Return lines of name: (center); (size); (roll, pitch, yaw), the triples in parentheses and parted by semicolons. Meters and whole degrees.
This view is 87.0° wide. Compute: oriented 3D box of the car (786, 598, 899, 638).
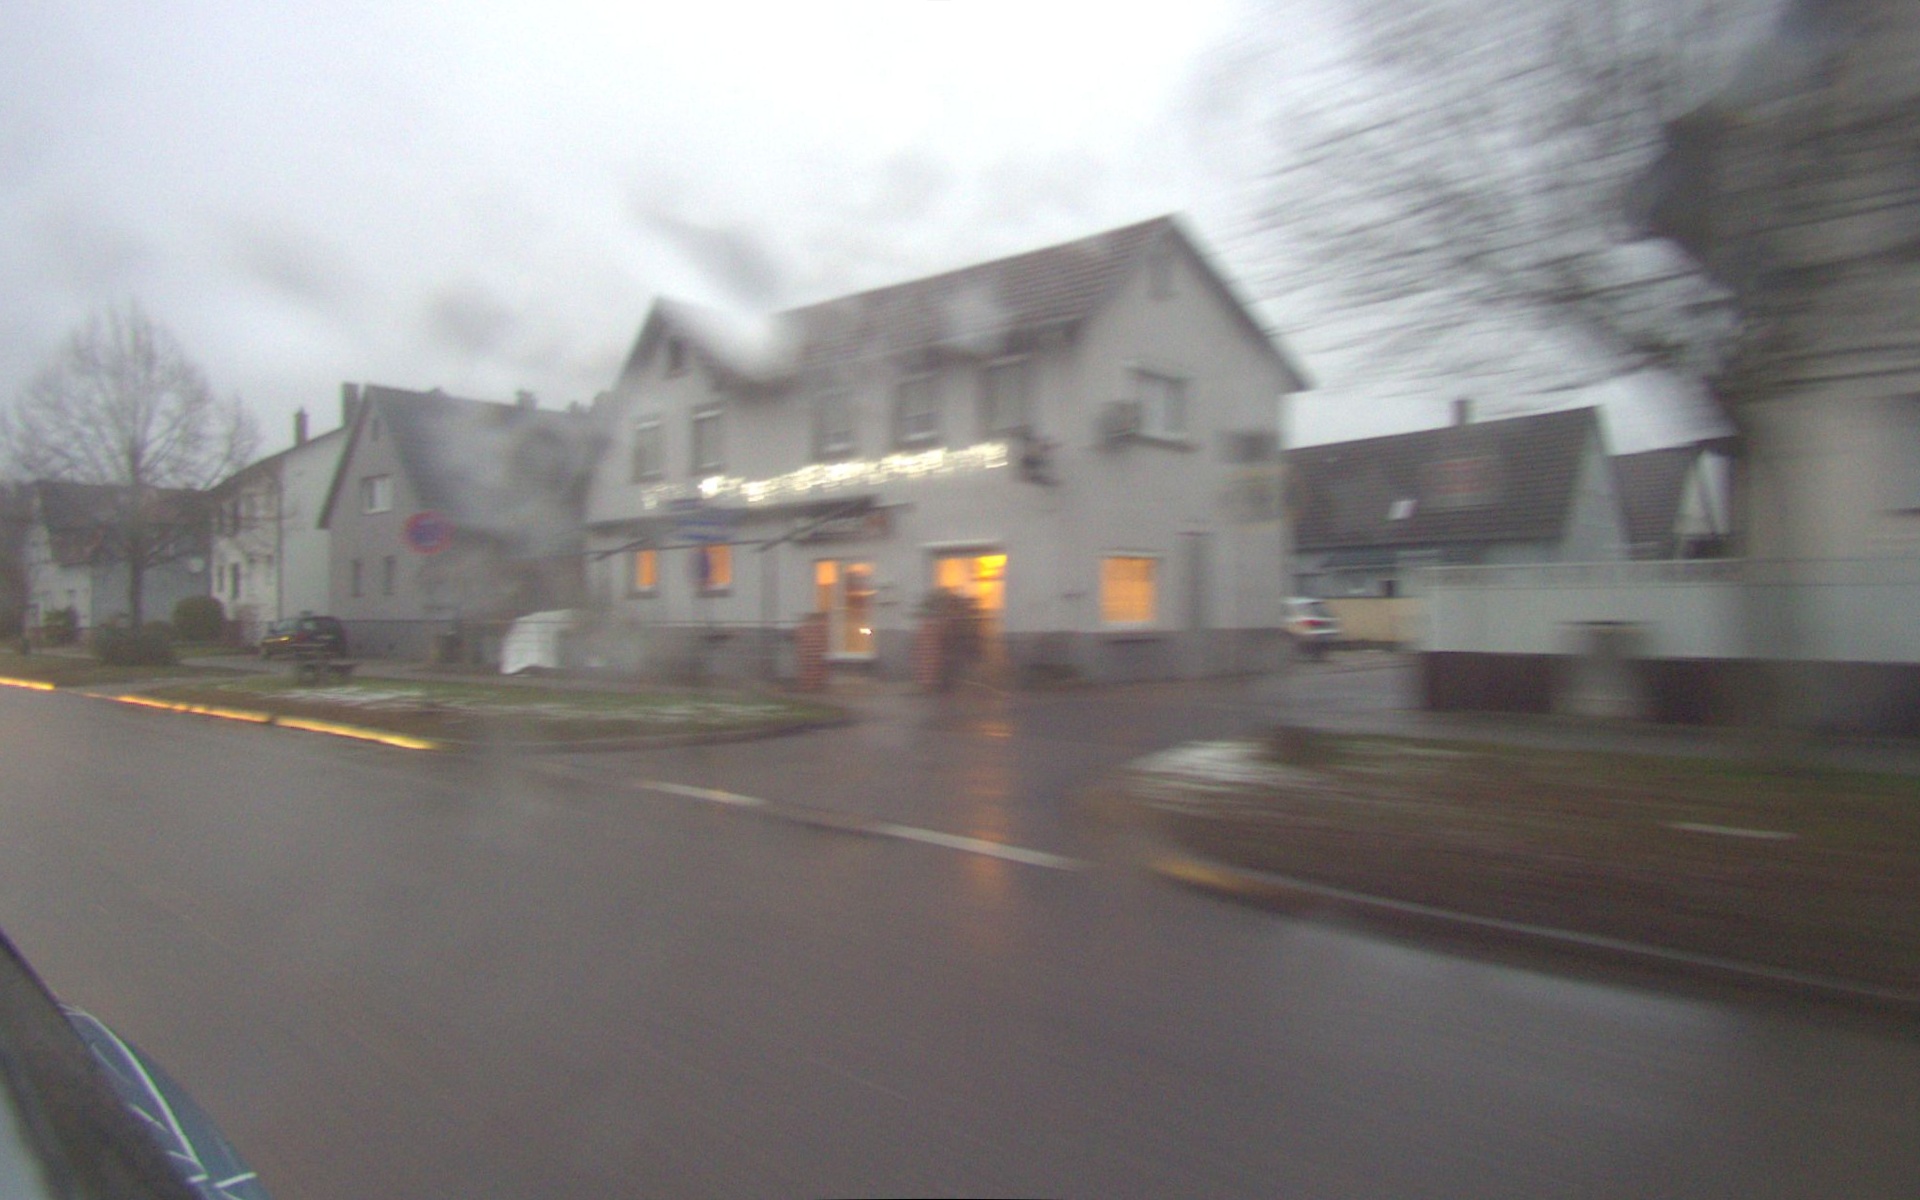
car: (-4.506, 0.674, 39.144); (2.148, 1.406, 3.945); (-1, 0, 42)

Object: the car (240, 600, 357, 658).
car: (-22.079, 0.922, 33.725); (4.563, 1.769, 1.974); (-1, 0, 39)

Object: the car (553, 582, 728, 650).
car: (-9.222, 0.412, 29.452); (4.500, 1.813, 1.913); (-1, 0, -45)

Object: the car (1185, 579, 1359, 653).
car: (8.335, 0.417, 27.217); (1.971, 1.821, 4.002); (-1, 0, -45)
